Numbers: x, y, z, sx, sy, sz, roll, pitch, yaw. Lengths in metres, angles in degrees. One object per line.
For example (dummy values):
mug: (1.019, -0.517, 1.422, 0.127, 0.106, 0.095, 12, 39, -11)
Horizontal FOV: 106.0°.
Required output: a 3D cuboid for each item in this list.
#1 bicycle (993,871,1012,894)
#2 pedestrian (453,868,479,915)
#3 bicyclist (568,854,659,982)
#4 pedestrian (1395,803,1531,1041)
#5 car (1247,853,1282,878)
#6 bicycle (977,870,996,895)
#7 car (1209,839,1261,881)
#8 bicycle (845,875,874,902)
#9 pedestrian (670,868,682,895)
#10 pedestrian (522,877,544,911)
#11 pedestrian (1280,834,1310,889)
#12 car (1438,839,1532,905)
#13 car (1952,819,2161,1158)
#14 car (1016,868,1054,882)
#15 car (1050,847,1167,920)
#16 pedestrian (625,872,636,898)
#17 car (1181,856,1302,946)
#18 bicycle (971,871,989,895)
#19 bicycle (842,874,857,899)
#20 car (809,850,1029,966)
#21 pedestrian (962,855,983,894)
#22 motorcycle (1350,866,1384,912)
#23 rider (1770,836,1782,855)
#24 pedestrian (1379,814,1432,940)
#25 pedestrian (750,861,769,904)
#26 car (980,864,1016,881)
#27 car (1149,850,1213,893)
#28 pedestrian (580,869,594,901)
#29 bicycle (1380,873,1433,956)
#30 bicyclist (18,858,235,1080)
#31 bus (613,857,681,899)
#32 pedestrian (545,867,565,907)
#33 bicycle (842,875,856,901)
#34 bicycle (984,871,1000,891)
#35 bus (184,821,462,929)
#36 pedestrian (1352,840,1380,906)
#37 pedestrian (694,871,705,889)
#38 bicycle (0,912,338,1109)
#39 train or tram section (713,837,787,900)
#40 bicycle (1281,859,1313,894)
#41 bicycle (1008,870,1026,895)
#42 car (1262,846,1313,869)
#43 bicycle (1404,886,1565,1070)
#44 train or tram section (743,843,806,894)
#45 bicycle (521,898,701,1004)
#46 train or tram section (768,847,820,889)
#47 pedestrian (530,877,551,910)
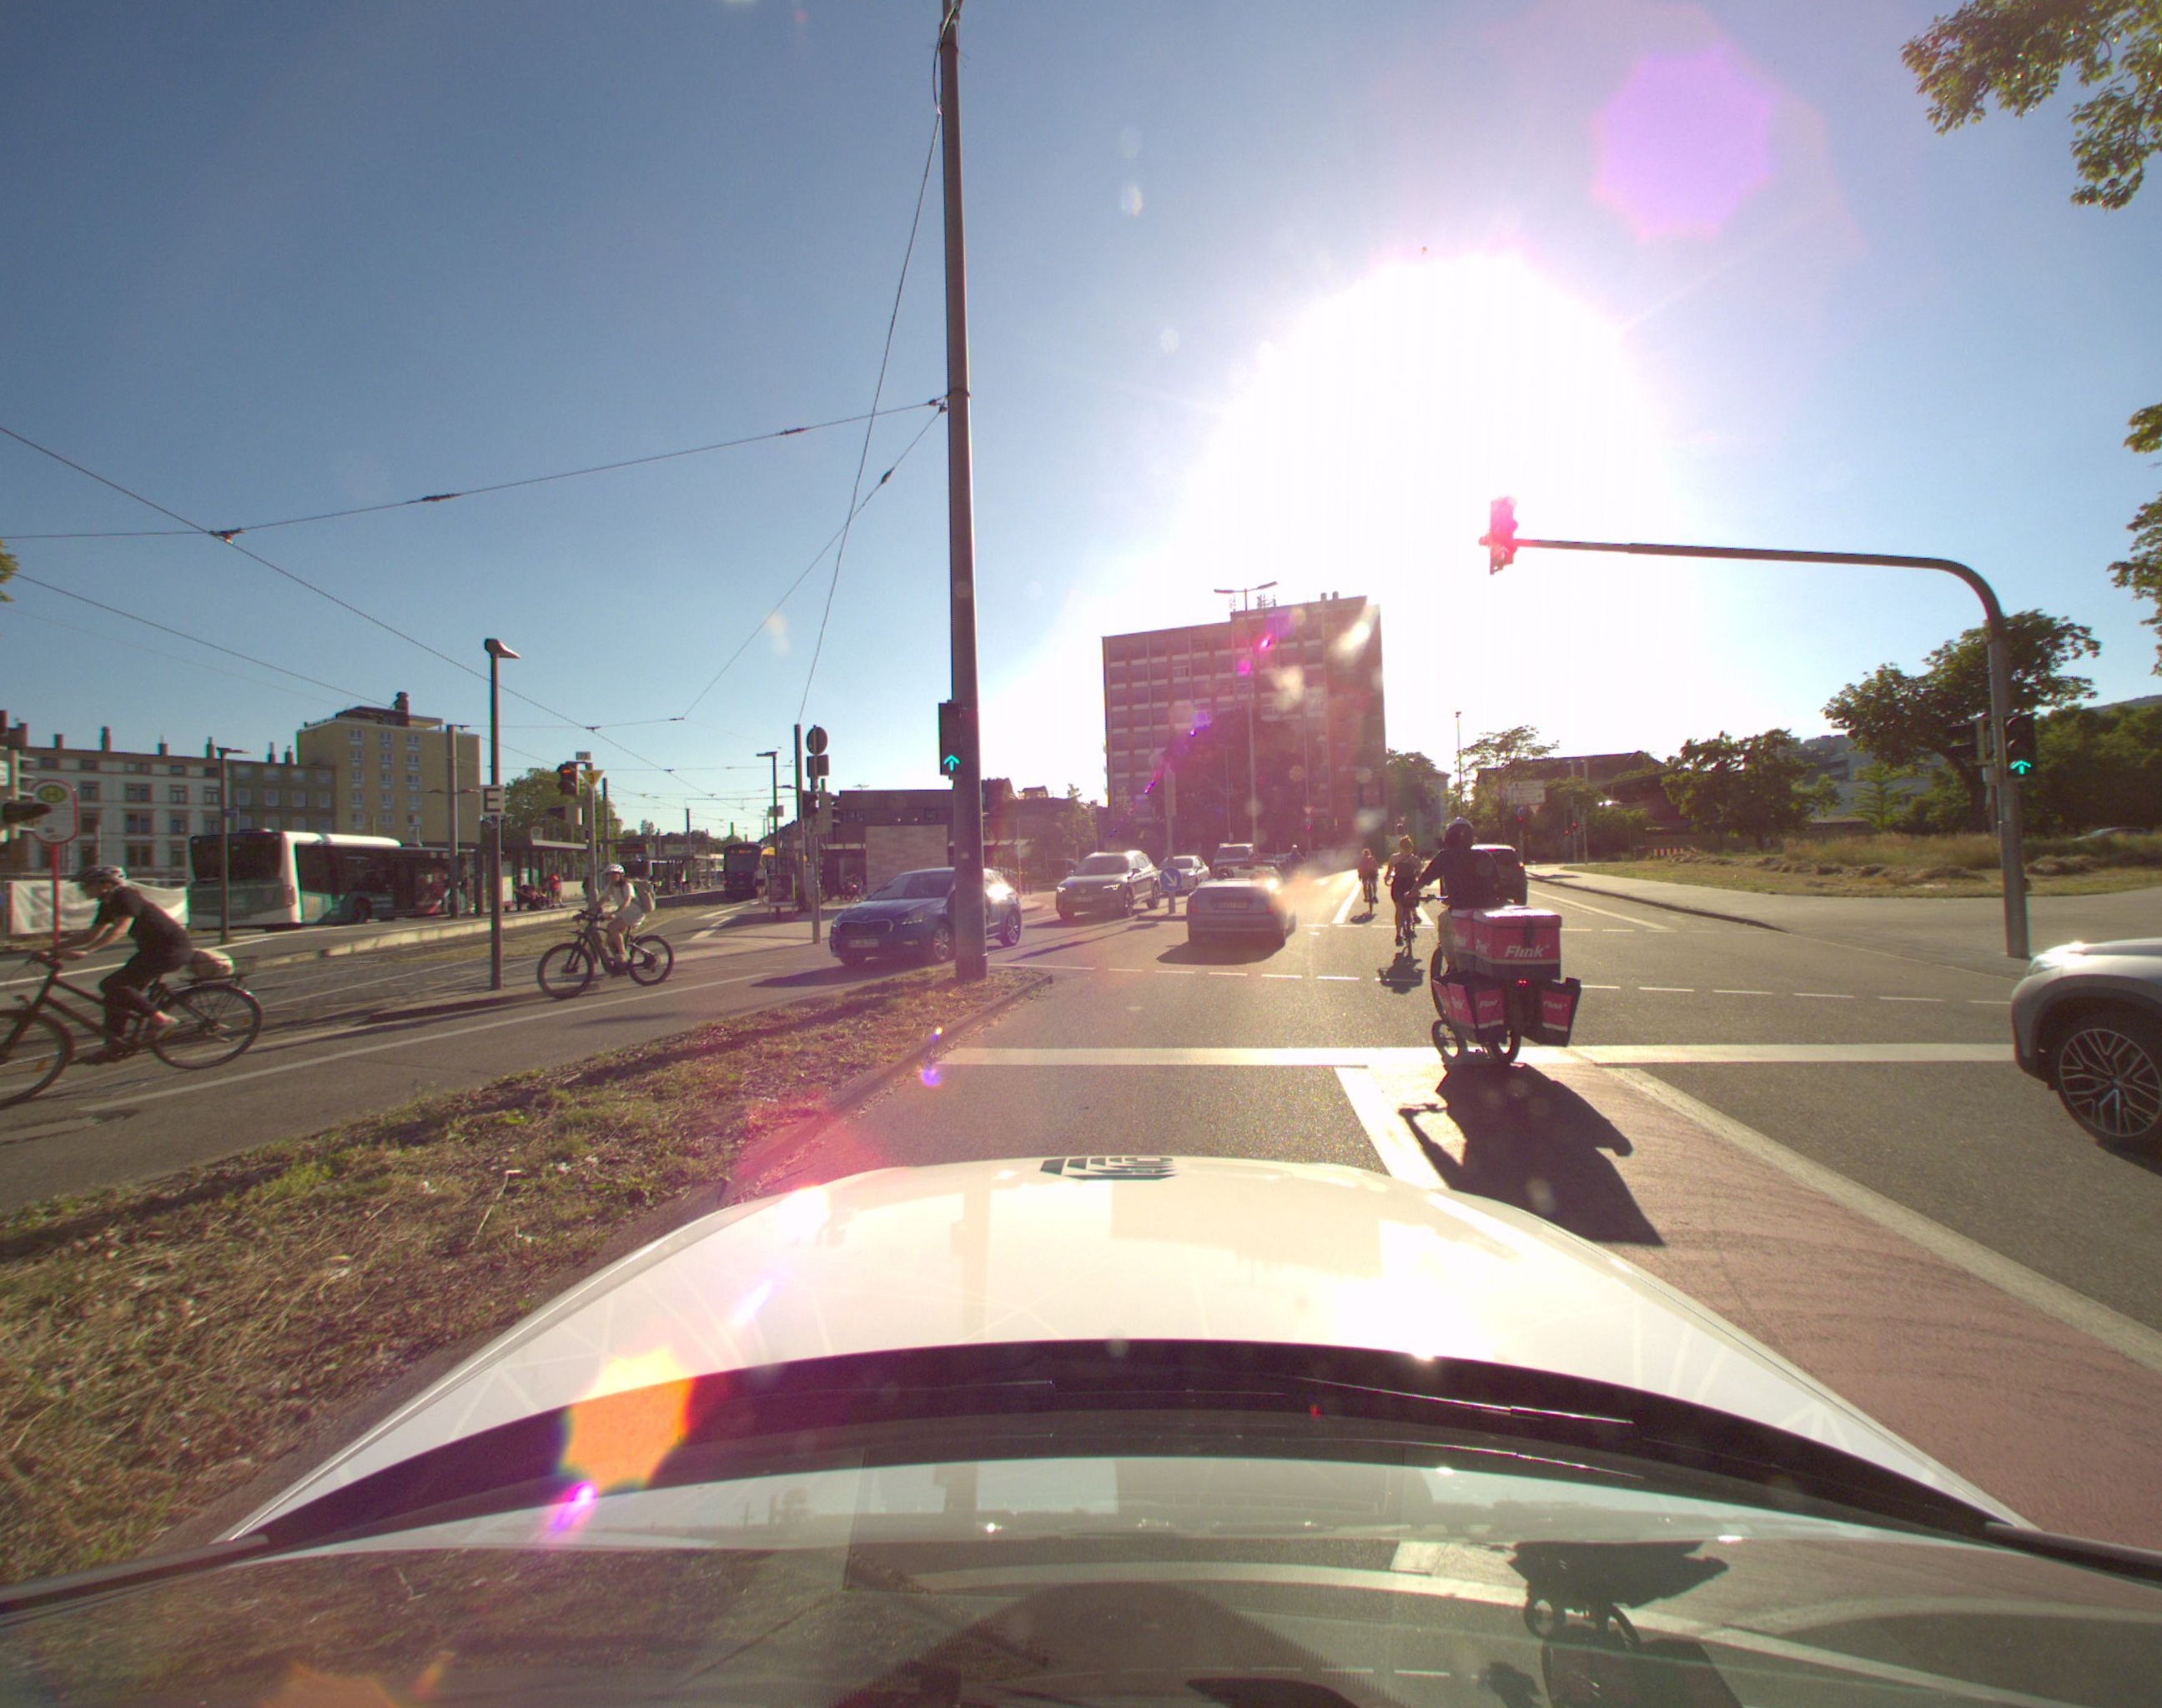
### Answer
bicycle: (-3.905, 1.379, 40.319, 0.608, 1.115, 1.886, 0, -1, -15)
pedestrian: (-23.440, 1.415, 31.045, 0.537, 1.749, 0.558, -2, -1, -9)
bicyclist: (-6.337, 0.847, 11.059, 0.703, 1.657, 0.747, -2, -1, 18)
pedestrian: (3.206, 0.544, 6.933, 0.801, 1.869, 0.958, 0, -1, 9)
car: (12.384, 0.764, 54.697, 1.784, 1.530, 4.019, -3, -1, 19)
bicycle: (-4.423, 1.315, 37.961, 0.608, 1.115, 1.886, 0, -1, -15)
car: (7.976, 0.306, 41.746, 1.893, 1.945, 4.728, -4, -1, 18)
bicycle: (-9.447, 1.450, 34.799, 0.604, 1.115, 1.898, 0, -1, 2)
pedestrian: (-27.216, 1.863, 54.710, 0.642, 1.749, 0.566, -2, -1, -30)
pedestrian: (-22.584, 1.648, 33.582, 0.618, 1.340, 0.438, -2, -1, -21)
pedestrian: (7.493, 0.264, 28.494, 0.825, 1.869, 0.926, -1, -1, 26)
car: (11.364, 0.499, 23.174, 1.816, 1.689, 4.389, -1, -1, 19)
car: (5.765, 0.619, 2.639, 1.776, 1.594, 4.341, 0, -1, 10)
car: (-5.301, 2.448, 93.186, 3.951, 1.574, 1.745, -1, -1, 24)
car: (0.886, 0.726, 22.182, 1.746, 1.706, 4.553, -4, -1, 20)
pedestrian: (-31.606, 2.180, 57.157, 0.572, 1.749, 0.635, -2, -1, -23)
car: (3.120, 0.782, 15.206, 1.647, 1.441, 4.174, -1, -1, 19)
bicycle: (-4.968, 1.407, 39.855, 0.608, 1.115, 1.886, 0, -1, -15)
bicycle: (-10.871, 1.520, 38.231, 0.607, 1.115, 1.887, 0, -1, -14)
car: (-2.475, 0.818, 13.515, 1.722, 1.574, 3.943, -5, -2, 19)
pedestrian: (-5.248, 0.995, 39.414, 0.902, 1.869, 0.683, 0, -1, -16)
motorcycle: (7.173, 0.844, 20.500, 0.609, 1.098, 2.369, 0, -1, 15)
rider: (60.074, -0.745, 70.397, 0.744, 1.598, 0.593, -1, -1, 32)
pedestrian: (4.982, 0.345, 12.553, 0.654, 1.869, 0.876, 0, -1, 15)
pedestrian: (-13.189, 1.166, 33.402, 0.640, 1.749, 0.568, -2, -1, -22)
car: (-8.263, 1.832, 80.954, 1.654, 1.560, 3.556, -1, -1, -43)
car: (4.053, 0.658, 32.455, 1.681, 1.560, 3.998, -2, -1, 18)
pedestrian: (-27.965, 1.751, 46.088, 0.642, 1.749, 0.566, -2, -1, -30)
bicycle: (4.972, 0.879, 12.521, 0.559, 1.151, 1.958, 0, -1, 16)
bicyclist: (-7.742, 0.891, 6.639, 0.703, 1.657, 0.905, -5, -2, 18)
bus: (-37.165, 2.002, 70.327, 2.728, 3.274, 13.384, 0, -1, -17)
pedestrian: (-23.298, 1.462, 36.093, 0.572, 1.749, 0.635, -2, -1, -20)
bicycle: (-10.343, 1.488, 36.342, 0.608, 1.115, 1.886, 0, -1, -15)
bicycle: (-5.023, 1.499, 45.904, 0.608, 1.115, 1.886, 0, -1, -15)
bus: (-25.879, 0.682, 28.718, 2.657, 3.136, 9.599, 0, -1, -13)
pedestrian: (7.161, 0.474, 20.467, 0.583, 1.598, 1.029, 0, -1, 15)
pedestrian: (-37.298, 2.520, 79.654, 0.734, 1.749, 0.637, -2, -1, -11)
bicycle: (-7.731, 1.195, 6.599, 0.668, 1.250, 2.468, -5, -1, 18)
train or tram section: (-20.941, 0.923, 52.242, 2.886, 3.597, 12.135, 0, -1, -15)
bicycle: (7.596, 0.775, 28.613, 0.602, 1.191, 2.429, -1, -1, 27)
bicycle: (-3.035, 1.318, 38.362, 0.607, 1.115, 1.888, 0, -1, -13)
car: (16.047, 0.273, 63.108, 4.021, 1.530, 1.783, -2, -1, -40)
bicycle: (3.191, 0.878, 6.680, 0.551, 1.171, 2.379, 0, -1, 11)
train or tram section: (-23.869, 1.134, 64.036, 3.015, 3.597, 12.143, 0, -1, -13)
bicycle: (-6.302, 1.249, 11.089, 0.668, 1.180, 2.193, -2, -1, 19)
train or tram section: (-26.521, 1.332, 75.786, 3.043, 3.597, 11.998, 0, -1, -12)
pedestrian: (-22.746, 1.648, 34.263, 0.572, 1.346, 0.635, -2, -1, -20)
